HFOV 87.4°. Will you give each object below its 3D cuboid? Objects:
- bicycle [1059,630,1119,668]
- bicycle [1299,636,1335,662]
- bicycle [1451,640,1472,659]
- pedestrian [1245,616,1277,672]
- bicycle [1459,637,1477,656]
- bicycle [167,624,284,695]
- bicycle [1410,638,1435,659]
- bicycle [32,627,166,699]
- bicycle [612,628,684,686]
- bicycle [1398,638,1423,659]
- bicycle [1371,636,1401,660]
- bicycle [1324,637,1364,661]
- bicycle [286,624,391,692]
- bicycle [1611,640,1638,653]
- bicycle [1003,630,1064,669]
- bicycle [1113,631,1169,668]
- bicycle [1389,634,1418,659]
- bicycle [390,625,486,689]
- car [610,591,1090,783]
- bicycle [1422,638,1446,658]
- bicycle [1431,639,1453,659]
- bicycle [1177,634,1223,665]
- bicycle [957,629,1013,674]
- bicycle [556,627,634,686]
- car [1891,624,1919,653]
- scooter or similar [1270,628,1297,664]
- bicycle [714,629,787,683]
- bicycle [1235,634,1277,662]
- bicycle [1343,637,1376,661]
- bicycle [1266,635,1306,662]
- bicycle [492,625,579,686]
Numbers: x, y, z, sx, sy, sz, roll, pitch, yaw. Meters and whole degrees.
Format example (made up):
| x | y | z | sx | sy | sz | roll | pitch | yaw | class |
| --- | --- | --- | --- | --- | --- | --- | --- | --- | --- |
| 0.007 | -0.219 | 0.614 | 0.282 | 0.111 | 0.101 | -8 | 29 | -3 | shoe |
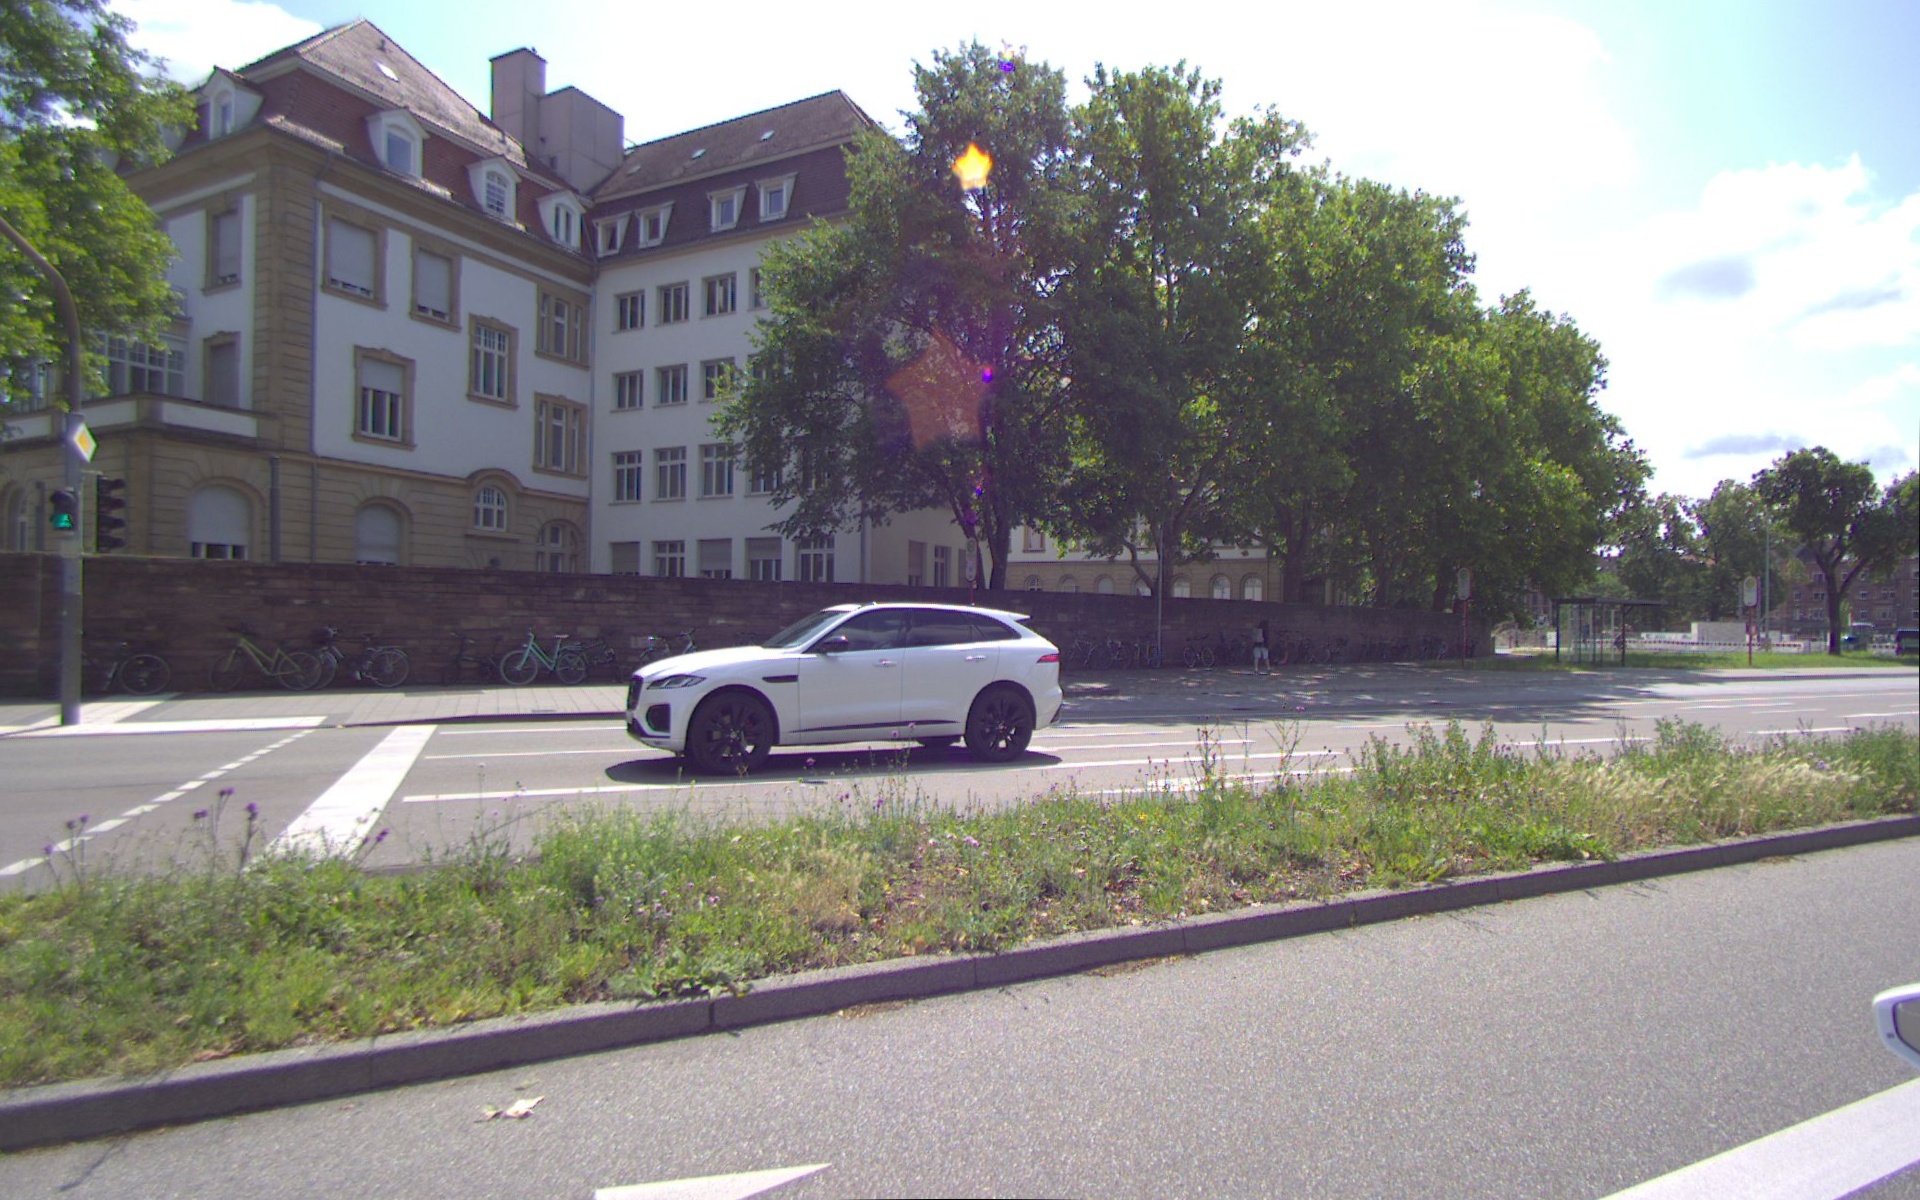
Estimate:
| x | y | z | sx | sy | sz | roll | pitch | yaw | class |
| --- | --- | --- | --- | --- | --- | --- | --- | --- | --- |
| 3.745 | 1.416 | 29.107 | 1.933 | 1.061 | 0.539 | 2 | -1 | -39 | bicycle |
| 13.355 | 1.824 | 37.574 | 1.653 | 0.914 | 0.539 | 2 | -1 | -41 | bicycle |
| 25.639 | 2.524 | 51.358 | 0.538 | 0.914 | 1.656 | 1 | -1 | 43 | bicycle |
| 9.068 | 1.316 | 30.213 | 0.608 | 1.638 | 0.753 | 2 | 0 | 43 | pedestrian |
| 26.830 | 2.451 | 53.068 | 0.537 | 0.914 | 1.658 | 1 | -1 | 38 | bicycle |
| -12.598 | 1.008 | 17.287 | 1.578 | 1.168 | 0.496 | 2 | -1 | -35 | bicycle |
| 21.176 | 2.216 | 45.945 | 0.538 | 0.914 | 1.656 | 1 | -1 | 43 | bicycle |
| -13.976 | 1.005 | 16.363 | 1.578 | 1.113 | 0.568 | 2 | -1 | -35 | bicycle |
| -6.542 | 1.179 | 21.132 | 0.395 | 1.168 | 1.591 | 1 | -1 | 31 | bicycle |
| 20.035 | 2.143 | 44.663 | 0.538 | 0.914 | 1.656 | 1 | -1 | 43 | bicycle |
| 17.867 | 1.987 | 42.087 | 1.654 | 0.964 | 0.538 | 2 | -1 | -43 | bicycle |
| 14.761 | 1.884 | 38.627 | 1.646 | 0.914 | 0.499 | 2 | -1 | -30 | bicycle |
| -11.261 | 1.036 | 18.218 | 1.578 | 1.168 | 0.617 | 2 | -1 | -35 | bicycle |
| 57.520 | 3.999 | 86.923 | 0.542 | 1.044 | 1.909 | 1 | -1 | -32 | bicycle |
| 2.045 | 1.361 | 27.819 | 1.784 | 1.021 | 0.477 | 2 | -1 | -36 | bicycle |
| 5.490 | 1.487 | 30.383 | 1.879 | 1.061 | 0.539 | 2 | -1 | -39 | bicycle |
| 19.096 | 2.000 | 43.237 | 1.612 | 1.065 | 0.538 | 2 | -1 | -43 | bicycle |
| -9.934 | 1.072 | 19.124 | 1.576 | 1.168 | 0.410 | 2 | -1 | -32 | bicycle |
| -1.165 | 0.827 | 10.777 | 4.711 | 1.689 | 2.065 | 1 | -1 | -25 | car |
| 22.282 | 2.260 | 47.223 | 0.538 | 0.914 | 1.656 | 1 | -1 | 43 | bicycle |
| 23.358 | 2.355 | 48.642 | 0.447 | 0.914 | 1.784 | 1 | -1 | 43 | bicycle |
| 7.669 | 1.567 | 32.061 | 1.651 | 0.962 | 0.539 | 2 | -1 | -39 | bicycle |
| 0.679 | 1.373 | 26.781 | 1.580 | 1.158 | 0.428 | 2 | -1 | -39 | bicycle |
| -7.465 | 1.138 | 20.622 | 0.395 | 1.168 | 1.591 | 1 | -1 | 31 | bicycle |
| 64.997 | 2.587 | 66.196 | 1.905 | 1.904 | 4.987 | 1 | -1 | -29 | car |
| 11.119 | 1.565 | 34.517 | 0.427 | 1.199 | 1.186 | 1 | -1 | 43 | scooter or similar |
| -4.721 | 1.248 | 22.687 | 1.580 | 1.168 | 0.398 | 2 | -1 | -38 | bicycle |
| 10.199 | 1.655 | 34.608 | 1.651 | 0.914 | 0.539 | 2 | -1 | -39 | bicycle |
| 15.963 | 1.959 | 40.110 | 1.653 | 0.914 | 0.539 | 2 | -1 | -42 | bicycle |
| 11.634 | 1.725 | 35.851 | 1.651 | 0.914 | 0.539 | 2 | -1 | -39 | bicycle |
| -8.480 | 1.095 | 20.112 | 0.396 | 1.168 | 1.586 | 1 | -1 | 40 | bicycle |
